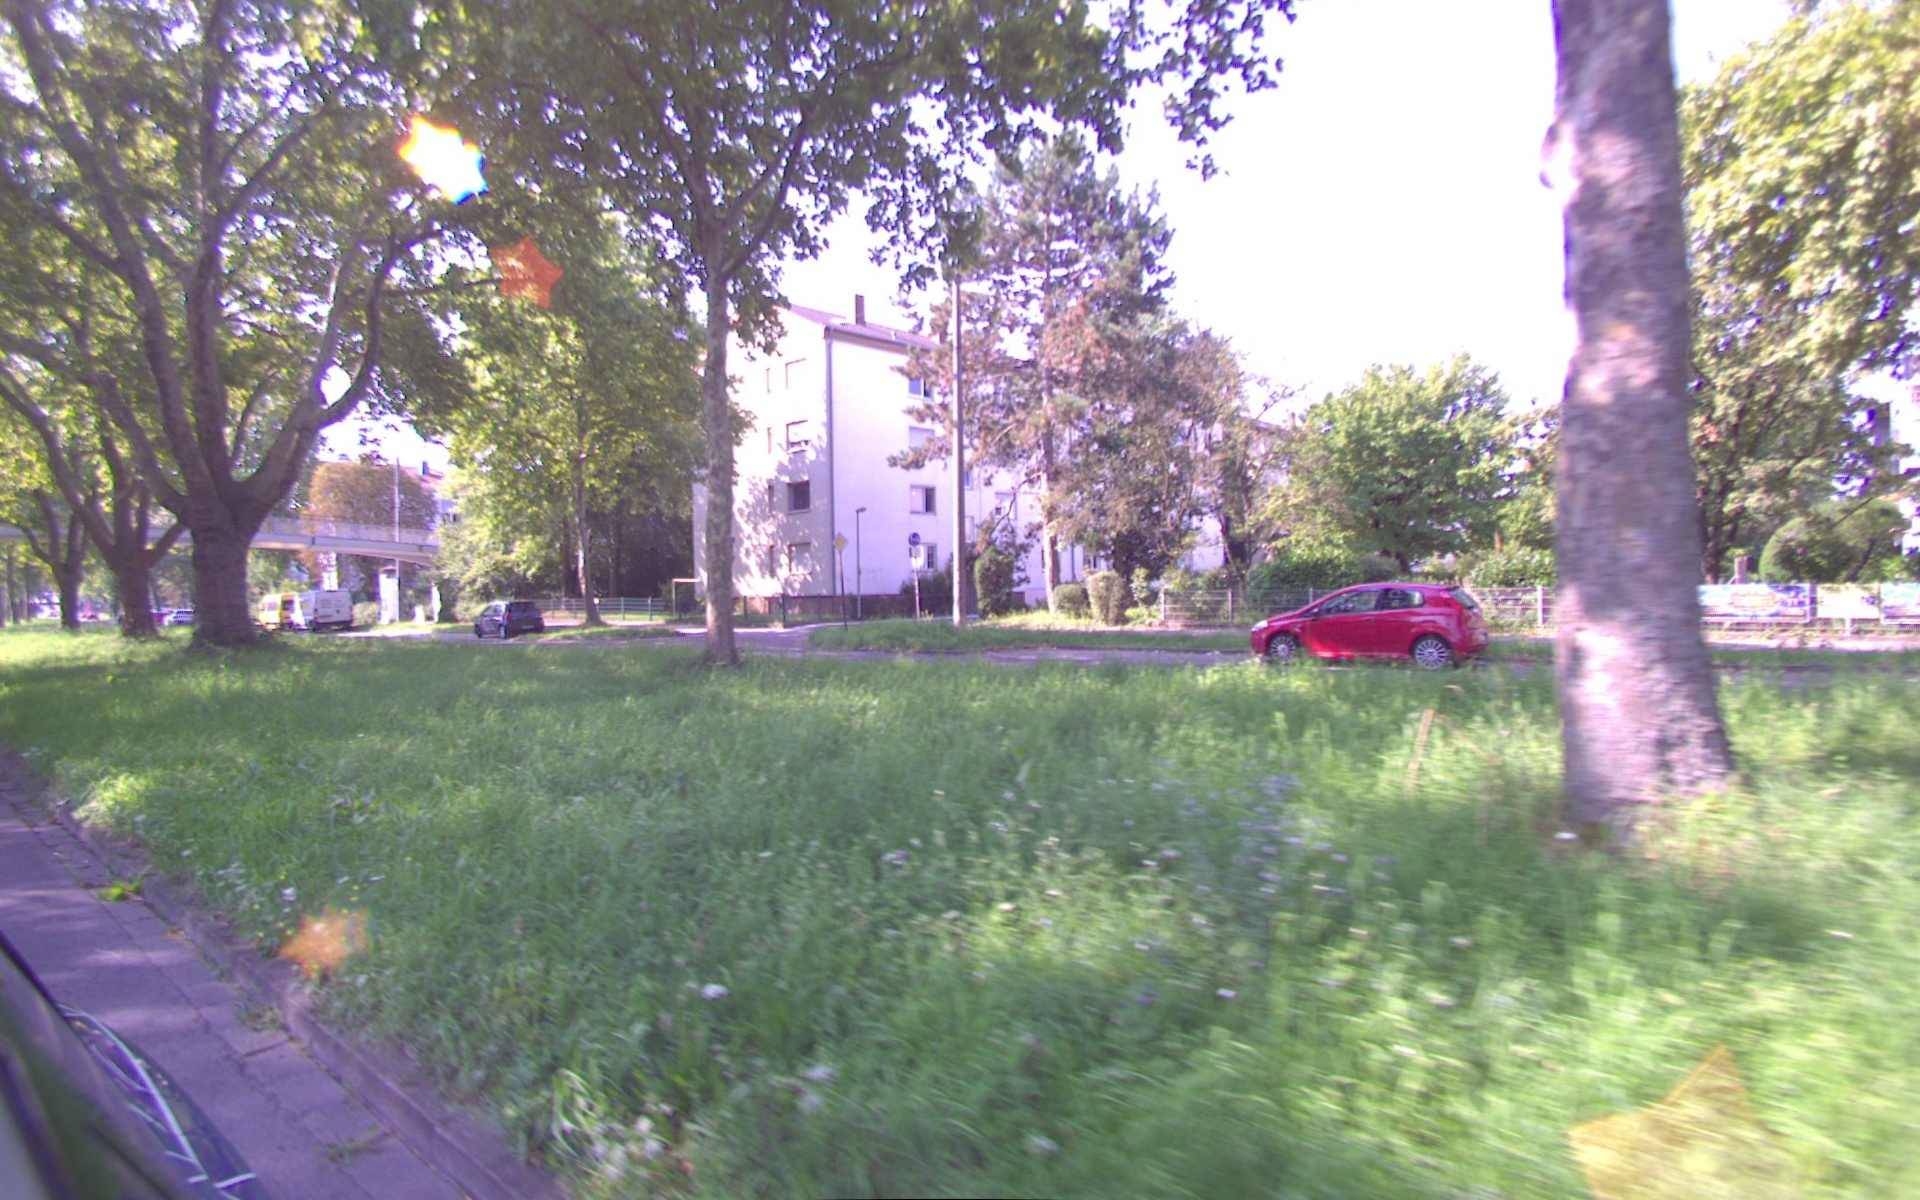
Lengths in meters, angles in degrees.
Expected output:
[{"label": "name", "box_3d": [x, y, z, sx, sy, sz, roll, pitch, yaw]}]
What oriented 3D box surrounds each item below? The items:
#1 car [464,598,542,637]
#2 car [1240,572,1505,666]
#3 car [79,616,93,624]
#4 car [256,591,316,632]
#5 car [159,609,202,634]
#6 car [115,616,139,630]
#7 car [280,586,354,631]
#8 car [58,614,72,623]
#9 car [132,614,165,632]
[{"label": "car", "box_3d": [-19.034, 0.710, 42.115, 3.862, 1.544, 1.506, -1, 0, 42]}, {"label": "car", "box_3d": [7.211, 0.306, 17.938, 4.064, 1.462, 1.522, -1, 1, 43]}, {"label": "car", "box_3d": [-160.825, 3.692, 186.205, 1.626, 1.374, 3.901, -2, 0, -44]}, {"label": "car", "box_3d": [-44.130, 0.730, 66.168, 2.182, 2.498, 6.066, -2, 1, -44]}, {"label": "car", "box_3d": [-58.670, 1.624, 76.129, 4.719, 1.733, 1.782, -2, 0, 43]}, {"label": "car", "box_3d": [-96.459, 2.642, 117.190, 1.767, 1.544, 4.458, -2, 1, -45]}, {"label": "car", "box_3d": [-38.422, 0.515, 60.417, 6.267, 2.448, 2.184, -1, 3, 44]}, {"label": "car", "box_3d": [-168.511, 3.487, 190.527, 1.754, 1.628, 4.860, -2, 1, -44]}, {"label": "car", "box_3d": [-73.300, 2.116, 91.385, 4.068, 1.544, 1.673, -1, 0, 41]}]
